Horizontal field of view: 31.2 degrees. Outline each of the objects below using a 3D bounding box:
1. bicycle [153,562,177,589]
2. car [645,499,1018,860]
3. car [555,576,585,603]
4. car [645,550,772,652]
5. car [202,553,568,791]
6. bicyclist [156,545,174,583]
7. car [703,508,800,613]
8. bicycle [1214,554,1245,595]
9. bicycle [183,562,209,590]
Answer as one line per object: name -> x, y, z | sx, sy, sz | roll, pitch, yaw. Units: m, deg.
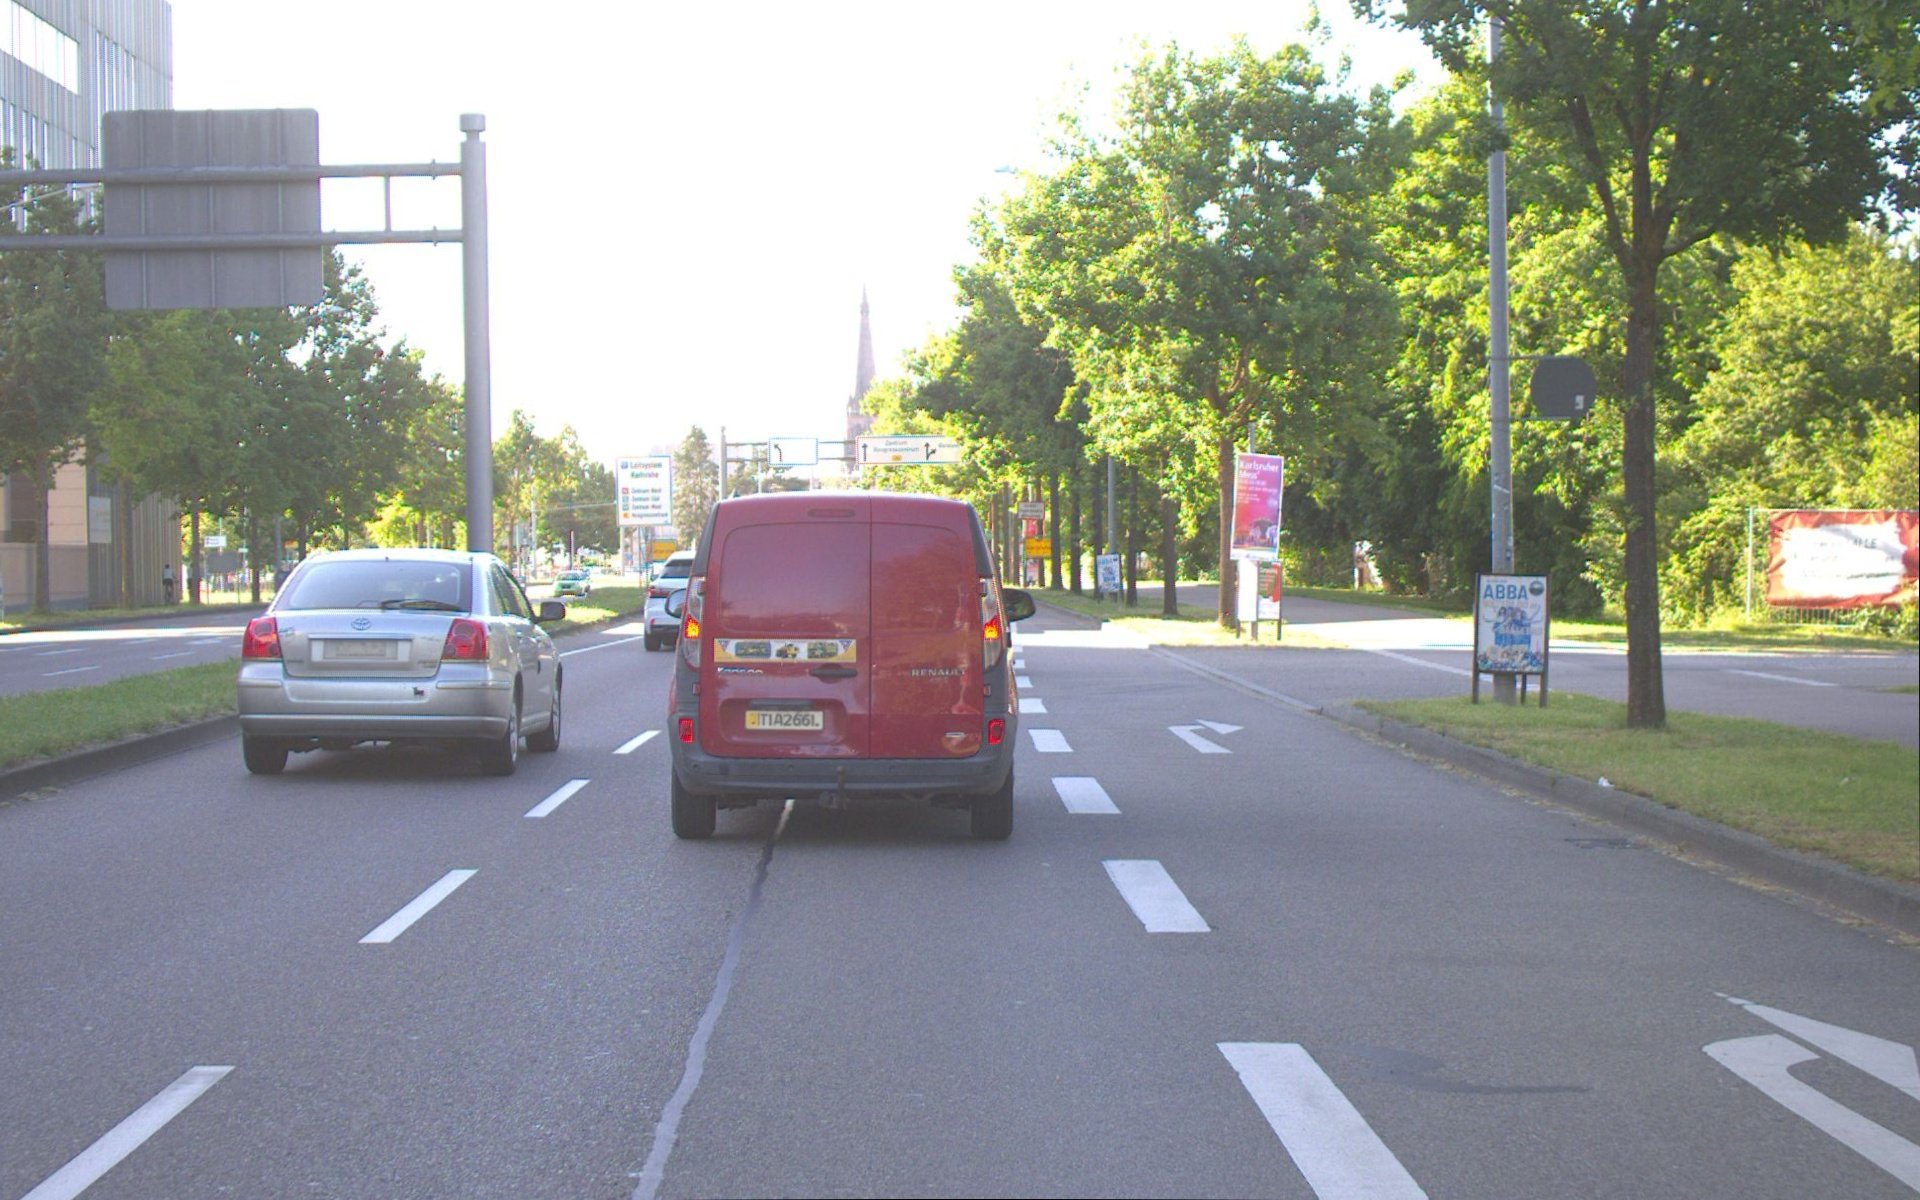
bicycle -> -29.037, -0.893, 125.566 | 0.487, 1.000, 2.096 | -1, 0, -2
car -> -0.689, 0.368, 18.827 | 1.806, 1.753, 4.006 | 1, 1, -2
car -> -21.924, -0.598, 193.313 | 1.446, 1.431, 3.460 | -1, 1, -3
car -> -3.596, -0.006, 49.569 | 1.661, 1.393, 3.559 | -1, 1, -2
car -> -3.778, 0.420, 23.264 | 1.841, 1.451, 4.162 | 1, 1, -1
bicyclist -> -29.046, -1.323, 125.627 | 0.482, 1.390, 0.844 | -1, 0, -2
car -> -3.812, -0.728, 63.363 | 1.661, 1.850, 3.559 | -1, 1, -2
bicycle -> 7.422, -0.710, 94.704 | 0.774, 1.127, 1.708 | 0, 1, 6
bicycle -> -27.855, -0.886, 125.396 | 0.570, 1.000, 2.096 | -1, 0, -2
